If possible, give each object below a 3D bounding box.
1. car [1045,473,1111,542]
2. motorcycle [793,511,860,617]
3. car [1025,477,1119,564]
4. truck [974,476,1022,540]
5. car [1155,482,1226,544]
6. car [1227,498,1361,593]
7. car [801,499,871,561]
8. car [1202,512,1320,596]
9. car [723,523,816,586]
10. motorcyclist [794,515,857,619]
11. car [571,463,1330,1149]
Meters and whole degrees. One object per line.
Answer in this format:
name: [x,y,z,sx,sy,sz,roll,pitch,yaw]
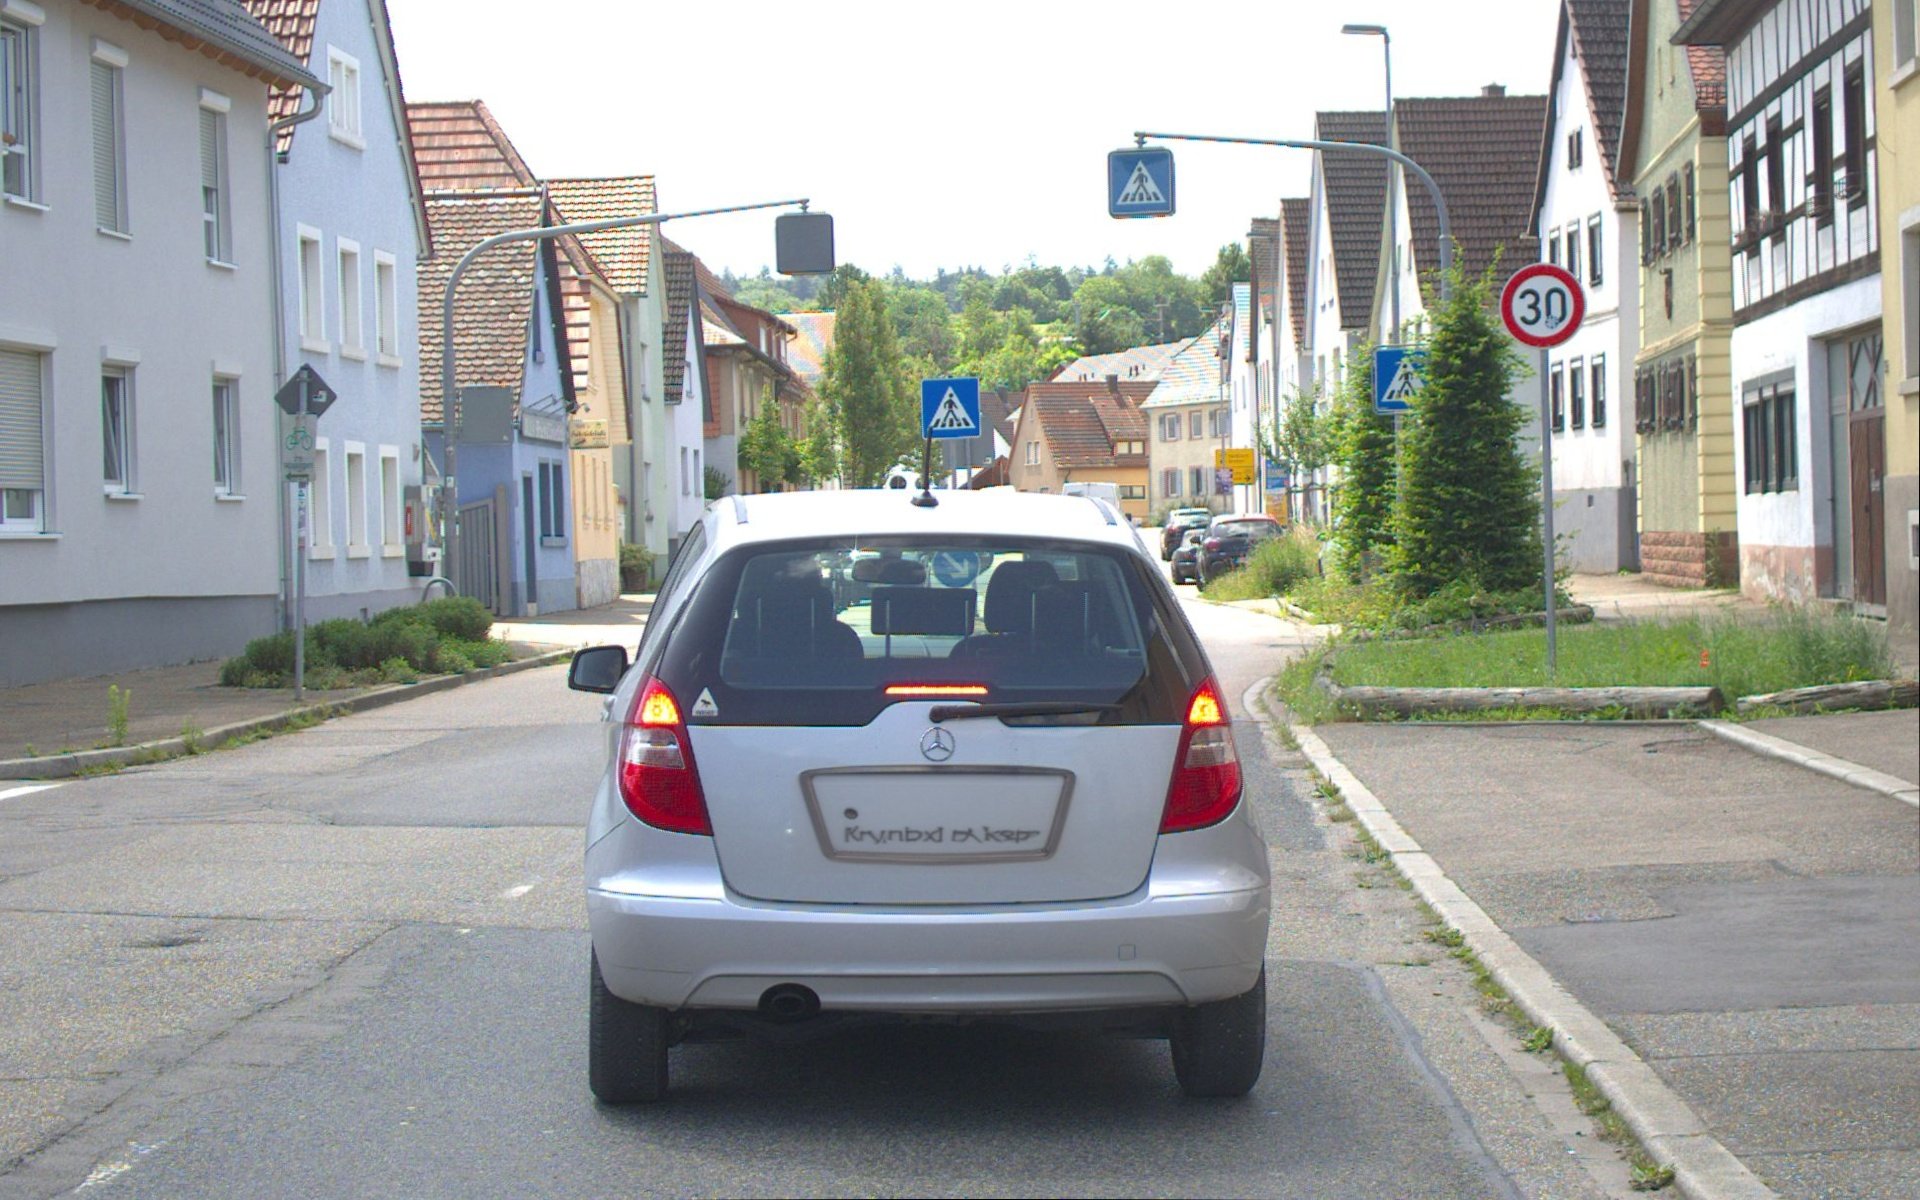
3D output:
car: [3.655,-2.865,107.065,1.993,2.007,4.000,0,0,1]
motorcycle: [-2.009,-0.565,51.926,0.880,1.555,1.967,0,2,1]
car: [2.486,-1.763,77.075,1.993,1.810,4.000,0,0,1]
truck: [1.651,-3.951,149.049,1.993,2.528,6.739,0,0,1]
car: [7.273,-2.727,108.804,1.993,1.810,4.000,0,0,1]
car: [5.616,-0.903,58.232,1.993,1.503,4.000,0,0,2]
car: [-3.397,-1.922,94.955,1.667,1.590,4.000,0,0,2]
car: [5.696,-0.851,65.416,1.993,1.503,4.000,0,0,2]
car: [-4.249,-0.987,76.470,1.993,1.317,3.709,0,0,-4]
motorcyclist: [-2.023,-0.504,51.857,0.896,1.549,0.807,0,2,1]
car: [-0.188,0.475,10.133,1.810,1.638,3.730,1,1,-5]
